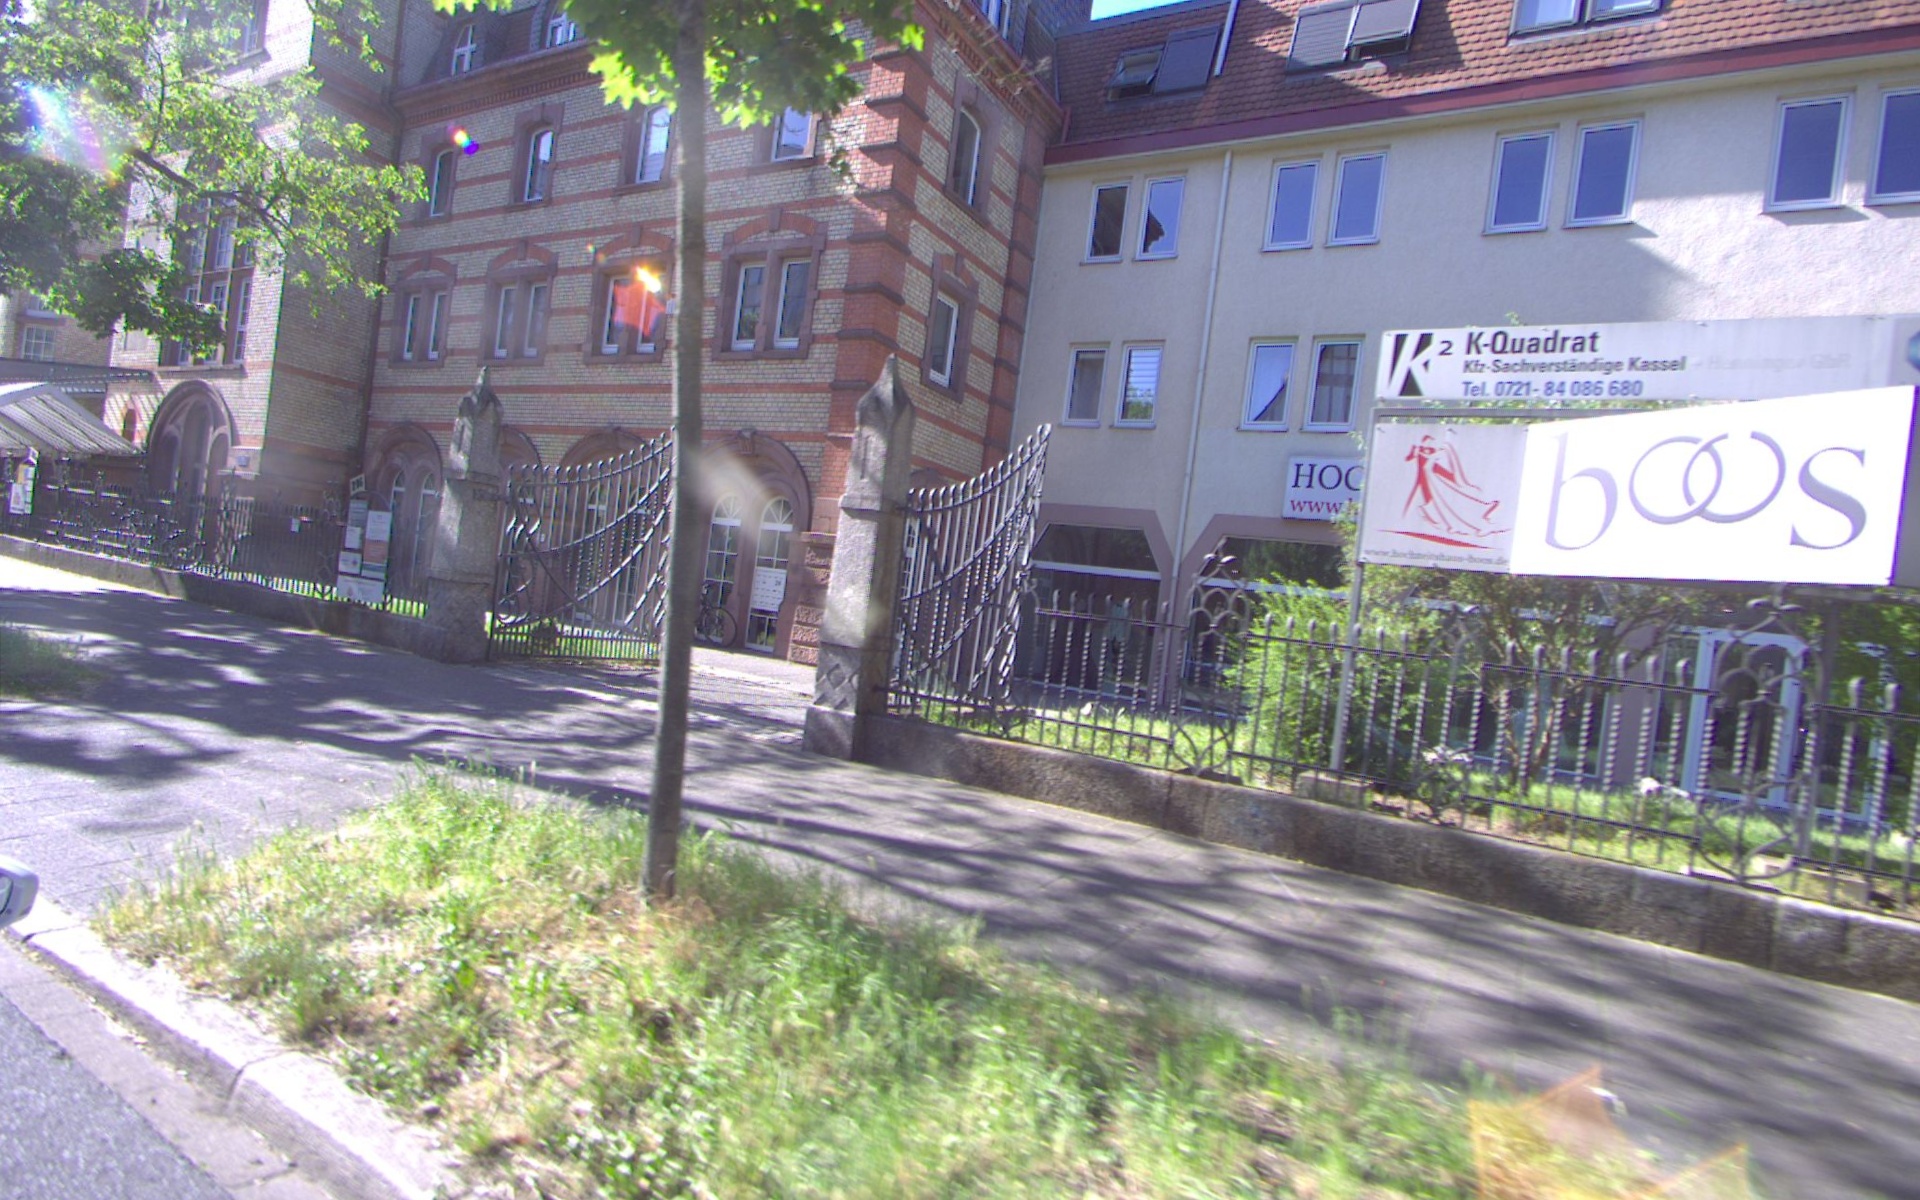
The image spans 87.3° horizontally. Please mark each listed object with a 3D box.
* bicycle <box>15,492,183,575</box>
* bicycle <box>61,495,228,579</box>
[{"bbox_3d":[-15.975,-1.202,18.744,0.675,1.192,2.202,6,-2,25],"label":"bicycle"},{"bbox_3d":[-14.811,-1.110,18.360,0.675,1.192,2.202,6,-2,25],"label":"bicycle"}]
